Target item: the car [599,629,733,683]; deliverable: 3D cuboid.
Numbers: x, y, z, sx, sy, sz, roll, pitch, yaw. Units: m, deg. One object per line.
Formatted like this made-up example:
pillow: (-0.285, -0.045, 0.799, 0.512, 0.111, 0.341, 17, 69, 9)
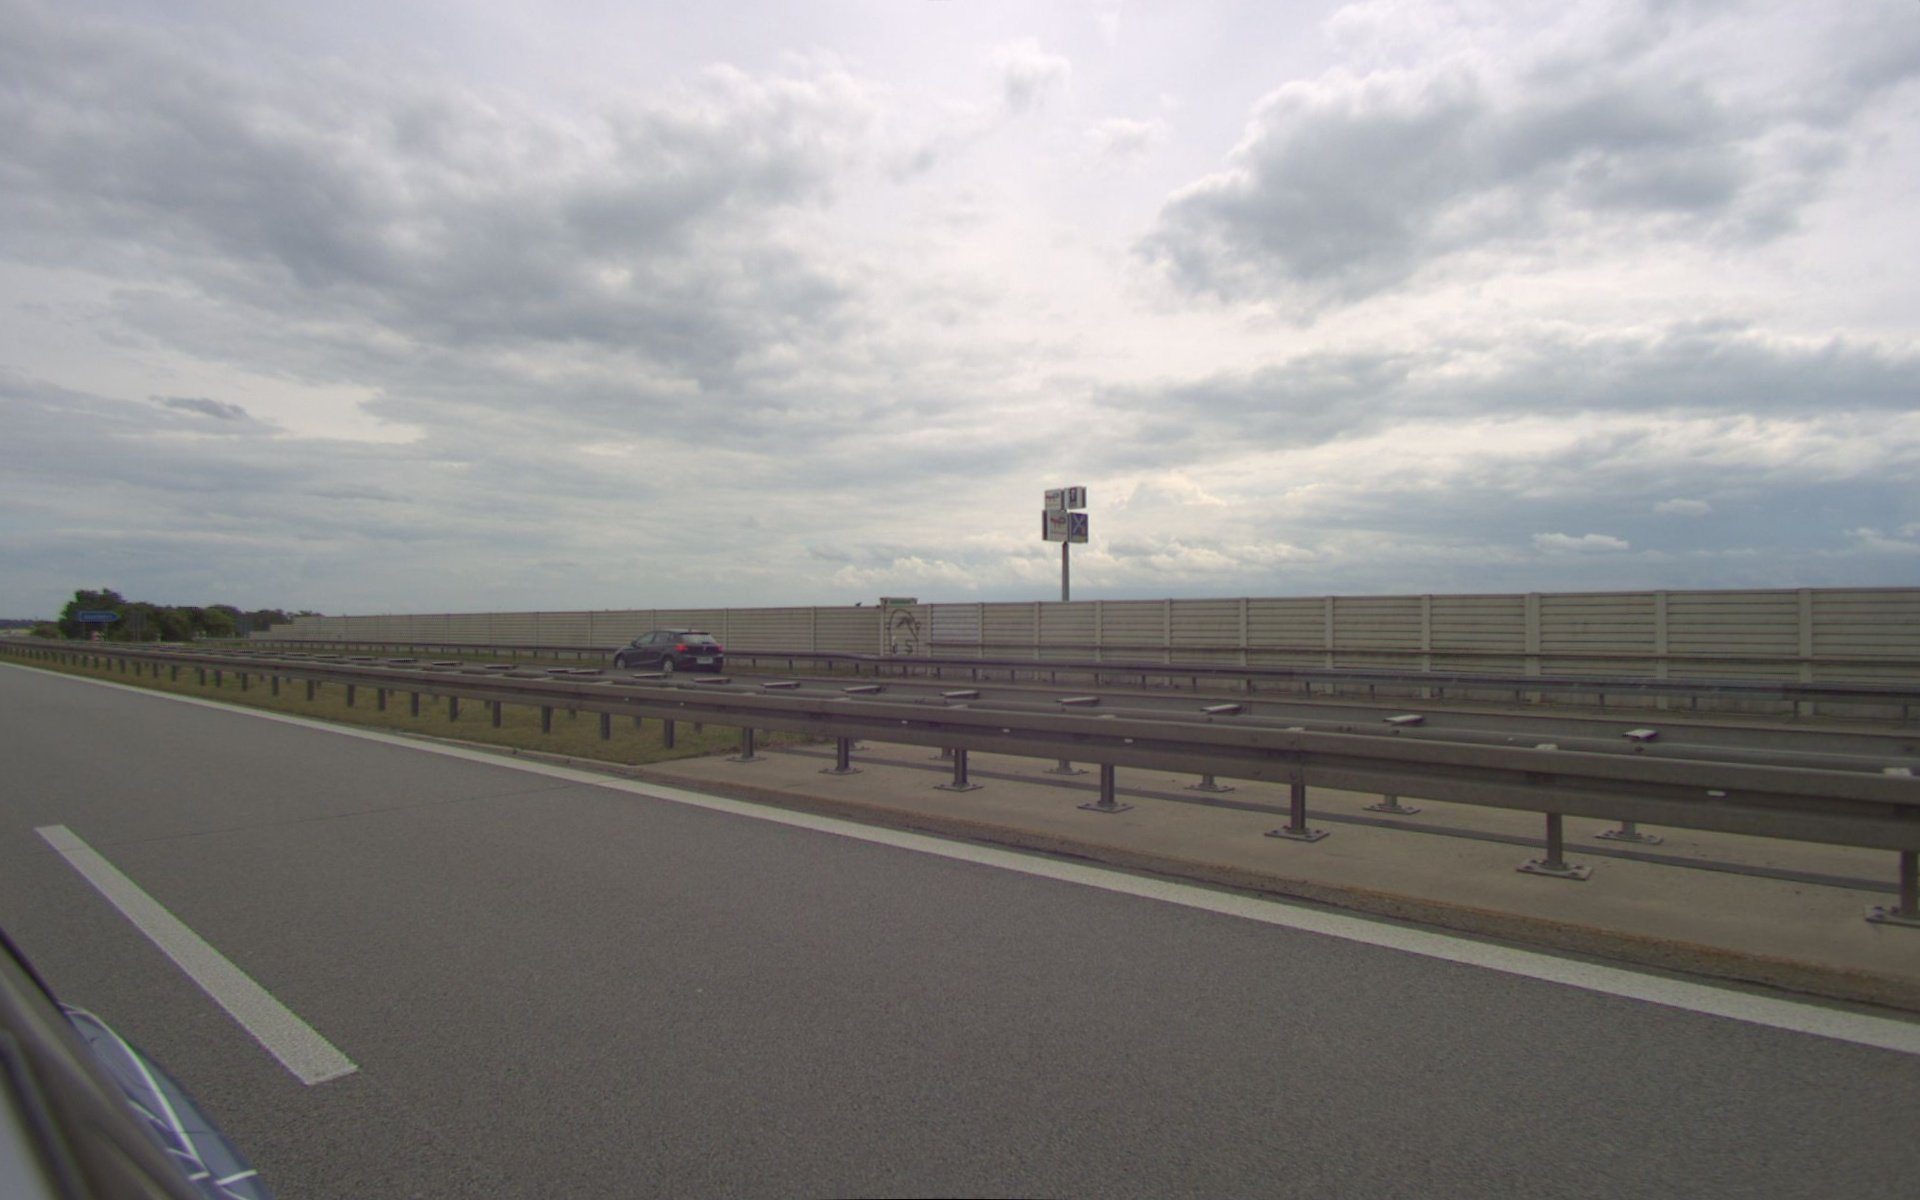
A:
car: (-8.942, 1.637, 30.554, 4.564, 1.506, 1.686, -1, -3, 41)
